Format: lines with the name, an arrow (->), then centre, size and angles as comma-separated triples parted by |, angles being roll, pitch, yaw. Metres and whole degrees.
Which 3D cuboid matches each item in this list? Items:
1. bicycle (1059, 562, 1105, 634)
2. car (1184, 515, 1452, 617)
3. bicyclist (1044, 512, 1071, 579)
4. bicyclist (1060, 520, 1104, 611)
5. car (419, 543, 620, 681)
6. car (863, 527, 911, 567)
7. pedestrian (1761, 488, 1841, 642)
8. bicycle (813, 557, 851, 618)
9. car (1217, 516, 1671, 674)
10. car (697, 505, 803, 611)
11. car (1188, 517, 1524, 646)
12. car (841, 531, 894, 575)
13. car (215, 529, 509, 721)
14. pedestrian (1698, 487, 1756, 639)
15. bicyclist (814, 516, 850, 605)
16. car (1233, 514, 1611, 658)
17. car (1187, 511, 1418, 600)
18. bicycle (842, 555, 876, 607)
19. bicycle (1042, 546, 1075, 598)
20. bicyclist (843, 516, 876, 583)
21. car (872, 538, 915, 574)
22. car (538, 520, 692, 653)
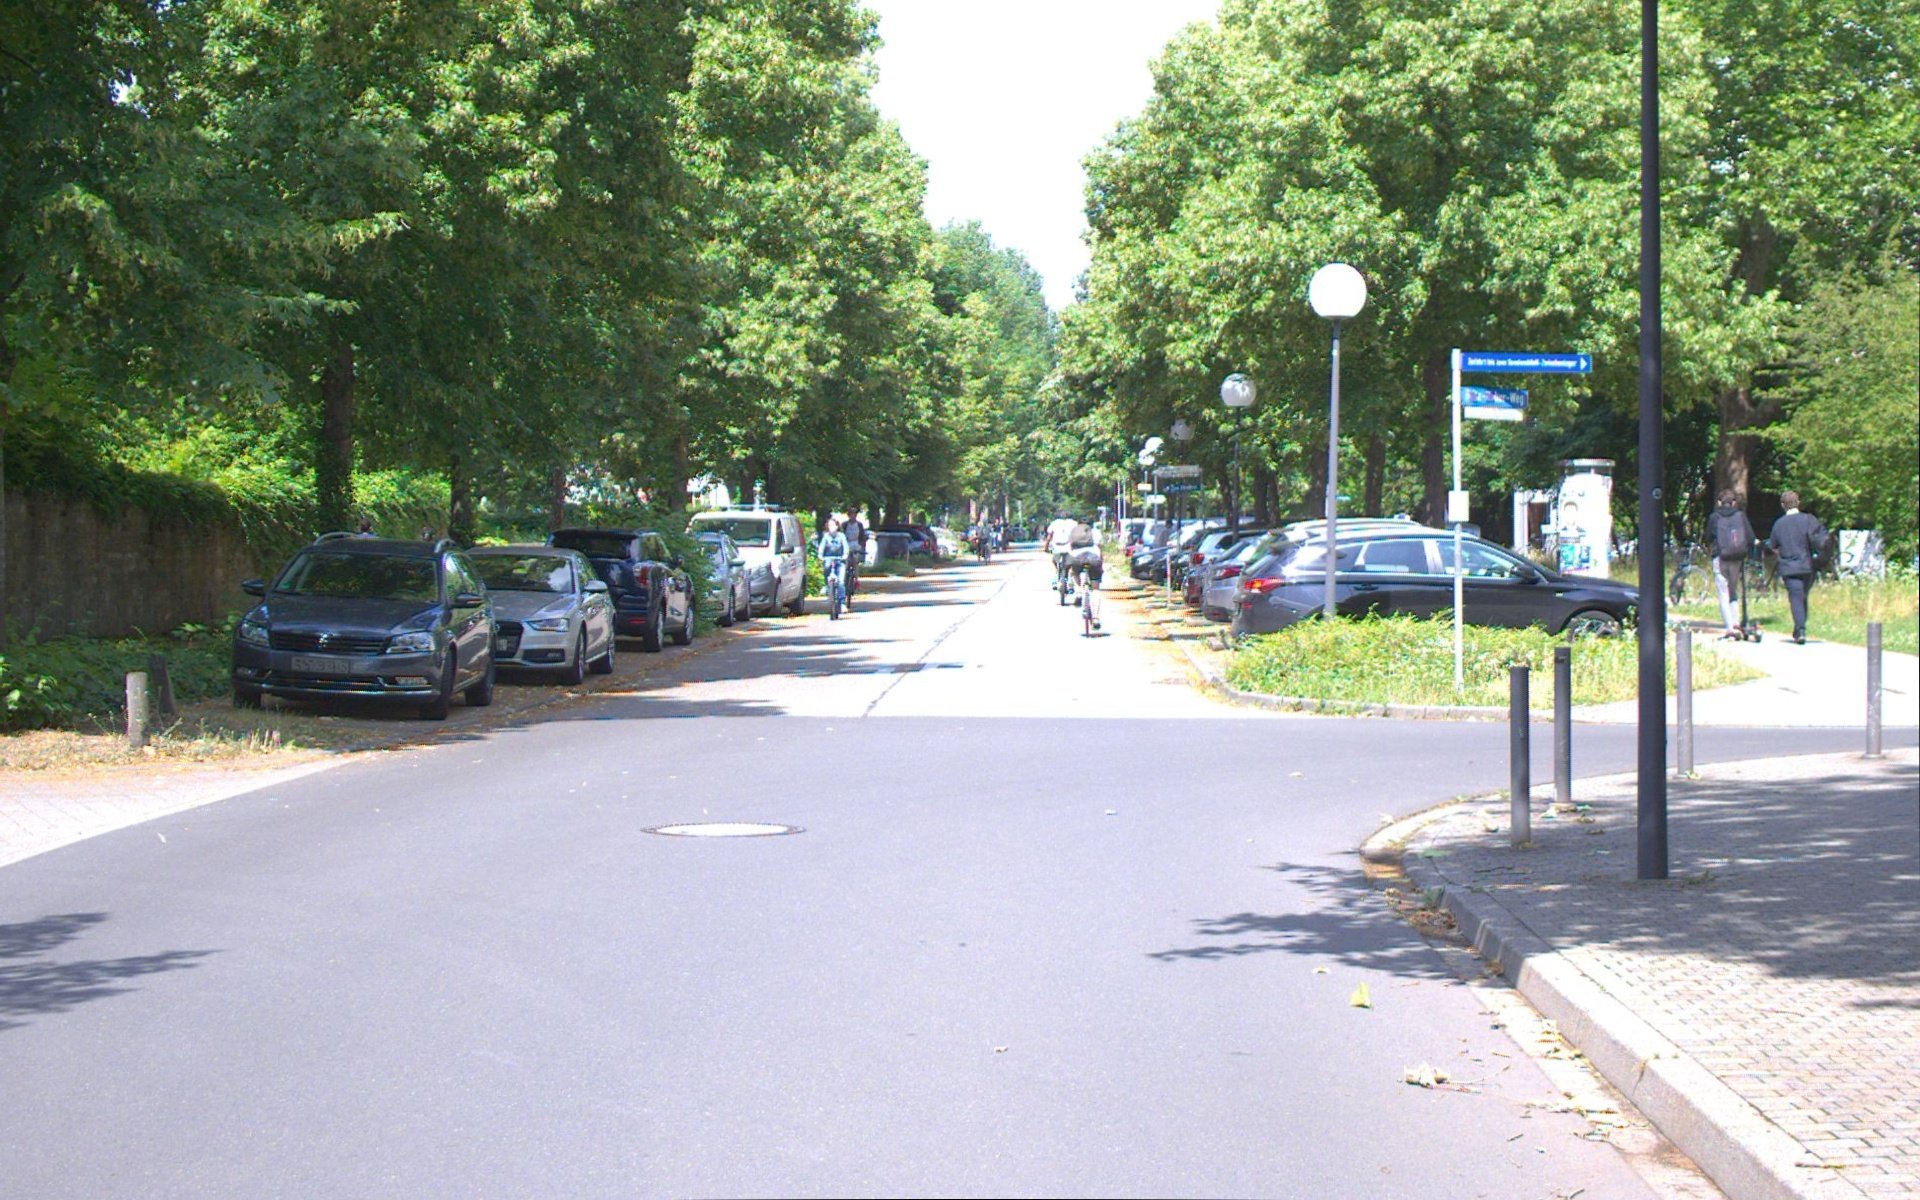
bicycle -> 1.737, -0.037, 49.016 | 0.614, 0.997, 1.423 | 0, 1, 0
car -> 5.903, -0.577, 57.060 | 4.257, 1.582, 1.920 | -1, 1, 2
bicyclist -> 1.903, -1.067, 67.107 | 0.522, 1.291, 0.611 | 0, 1, 0
bicyclist -> 1.735, -0.493, 48.896 | 0.609, 1.291, 0.611 | 0, 1, 0
car -> -4.676, 0.088, 36.953 | 1.615, 1.383, 4.000 | 0, 1, 0
car -> -2.505, -1.840, 119.189 | 1.615, 1.360, 4.563 | 0, 1, -1
pedestrian -> 9.666, -0.405, 39.526 | 0.821, 1.749, 0.628 | 0, 1, 7
bicycle -> -2.153, -0.217, 58.068 | 0.577, 0.997, 1.423 | 0, 1, 0
car -> 4.991, -0.070, 35.907 | 4.485, 1.520, 1.810 | -1, 1, 2
car -> -3.691, -0.764, 60.928 | 1.615, 1.809, 4.000 | 0, 1, 0
car -> 5.200, -0.261, 45.553 | 4.257, 1.582, 1.810 | -1, 1, 2
car -> -2.928, -1.509, 109.373 | 1.615, 1.360, 4.000 | 0, 1, -1
car -> -5.011, 0.157, 29.320 | 1.760, 1.516, 4.112 | 0, 1, 0
pedestrian -> 8.901, -0.428, 39.890 | 0.601, 1.749, 0.628 | 0, 1, 7
bicyclist -> -2.152, -0.670, 58.030 | 0.563, 1.493, 0.827 | 0, 1, 0
car -> 5.432, -0.179, 40.800 | 4.257, 1.582, 1.810 | -1, 1, 2
car -> 6.528, -0.862, 65.907 | 4.257, 1.582, 1.920 | -1, 1, 2
bicycle -> -1.974, -0.381, 67.470 | 0.614, 0.997, 1.423 | 0, 1, 0
bicycle -> 1.917, -0.548, 67.091 | 0.614, 0.997, 1.423 | 0, 1, 0
bicyclist -> -1.975, -0.995, 67.495 | 0.608, 1.291, 0.611 | 0, 1, 0
car -> -2.555, -1.712, 132.344 | 1.615, 1.360, 4.000 | 0, 1, -1
car -> -4.537, -0.213, 45.636 | 1.615, 1.673, 4.000 | 0, 1, 0
